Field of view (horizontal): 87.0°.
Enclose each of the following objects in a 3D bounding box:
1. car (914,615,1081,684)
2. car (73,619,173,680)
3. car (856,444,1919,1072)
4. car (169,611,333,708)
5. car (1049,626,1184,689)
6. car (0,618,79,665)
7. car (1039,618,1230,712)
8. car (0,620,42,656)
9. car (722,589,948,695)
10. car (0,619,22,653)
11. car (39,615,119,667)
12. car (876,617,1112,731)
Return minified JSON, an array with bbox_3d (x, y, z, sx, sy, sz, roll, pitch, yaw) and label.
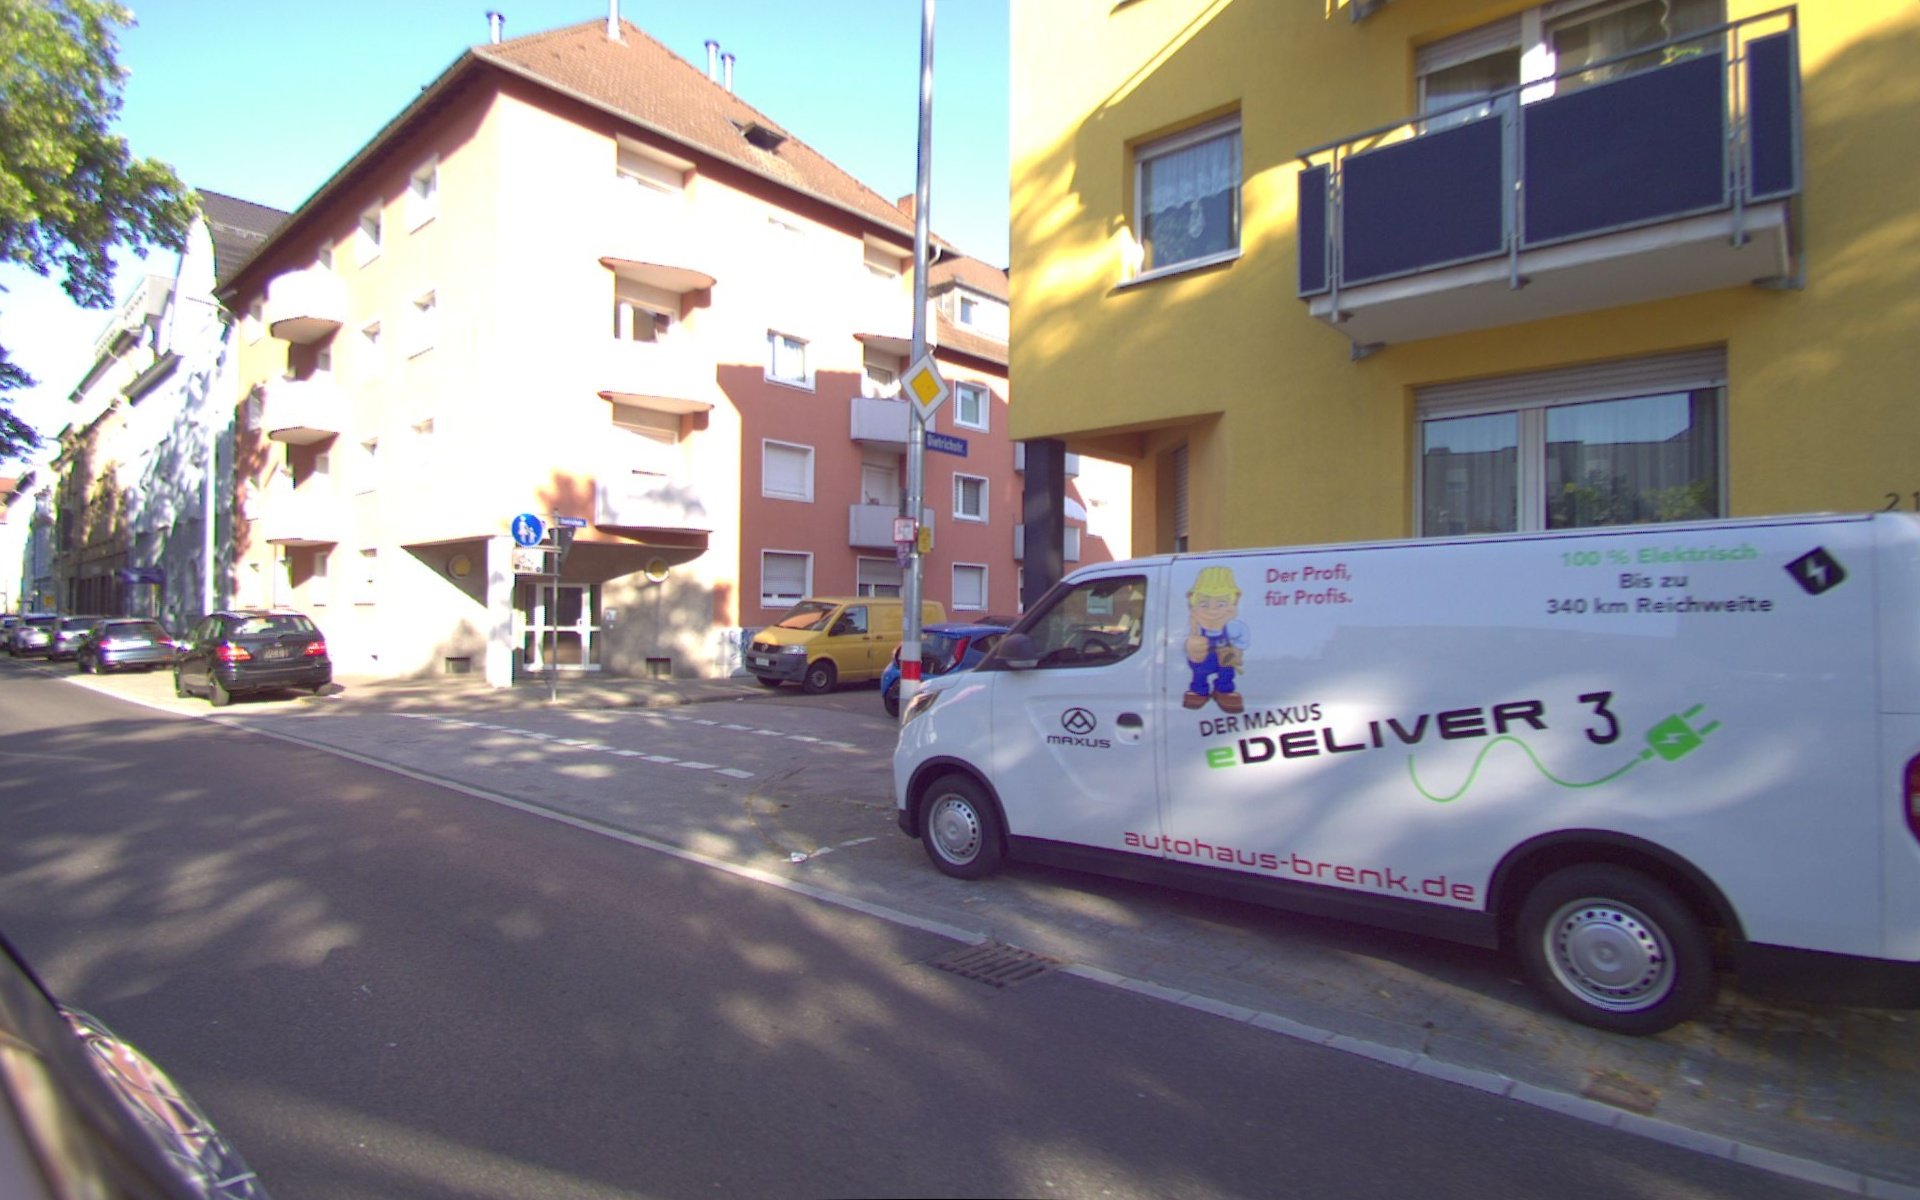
[{"bbox_3d":[1.044,1.241,26.175,1.920,1.638,4.400,-1,-2,43],"label":"car"},{"bbox_3d":[-22.638,1.296,27.332,3.601,1.497,1.659,-1,0,43],"label":"car"},{"bbox_3d":[1.836,0.517,5.271,5.208,1.921,1.715,-1,-1,42],"label":"car"},{"bbox_3d":[-12.923,0.996,18.349,4.021,1.535,1.659,-1,0,43],"label":"car"},{"bbox_3d":[4.687,1.645,29.894,1.920,1.711,4.246,-1,-2,43],"label":"car"},{"bbox_3d":[-34.792,1.519,38.194,4.577,1.654,1.887,-1,0,43],"label":"car"},{"bbox_3d":[3.394,1.163,19.190,1.748,1.579,3.947,-1,-2,42],"label":"car"},{"bbox_3d":[-42.668,1.689,45.568,3.872,1.507,1.659,-1,0,43],"label":"car"},{"bbox_3d":[-2.577,0.868,21.805,1.920,2.029,4.694,-1,-2,43],"label":"car"},{"bbox_3d":[-47.272,1.763,49.587,4.200,1.597,1.659,-1,0,43],"label":"car"},{"bbox_3d":[-30.169,1.363,34.620,3.985,1.654,1.659,-1,0,43],"label":"car"},{"bbox_3d":[0.631,1.086,16.048,1.748,1.579,3.743,-1,-2,42],"label":"car"}]
